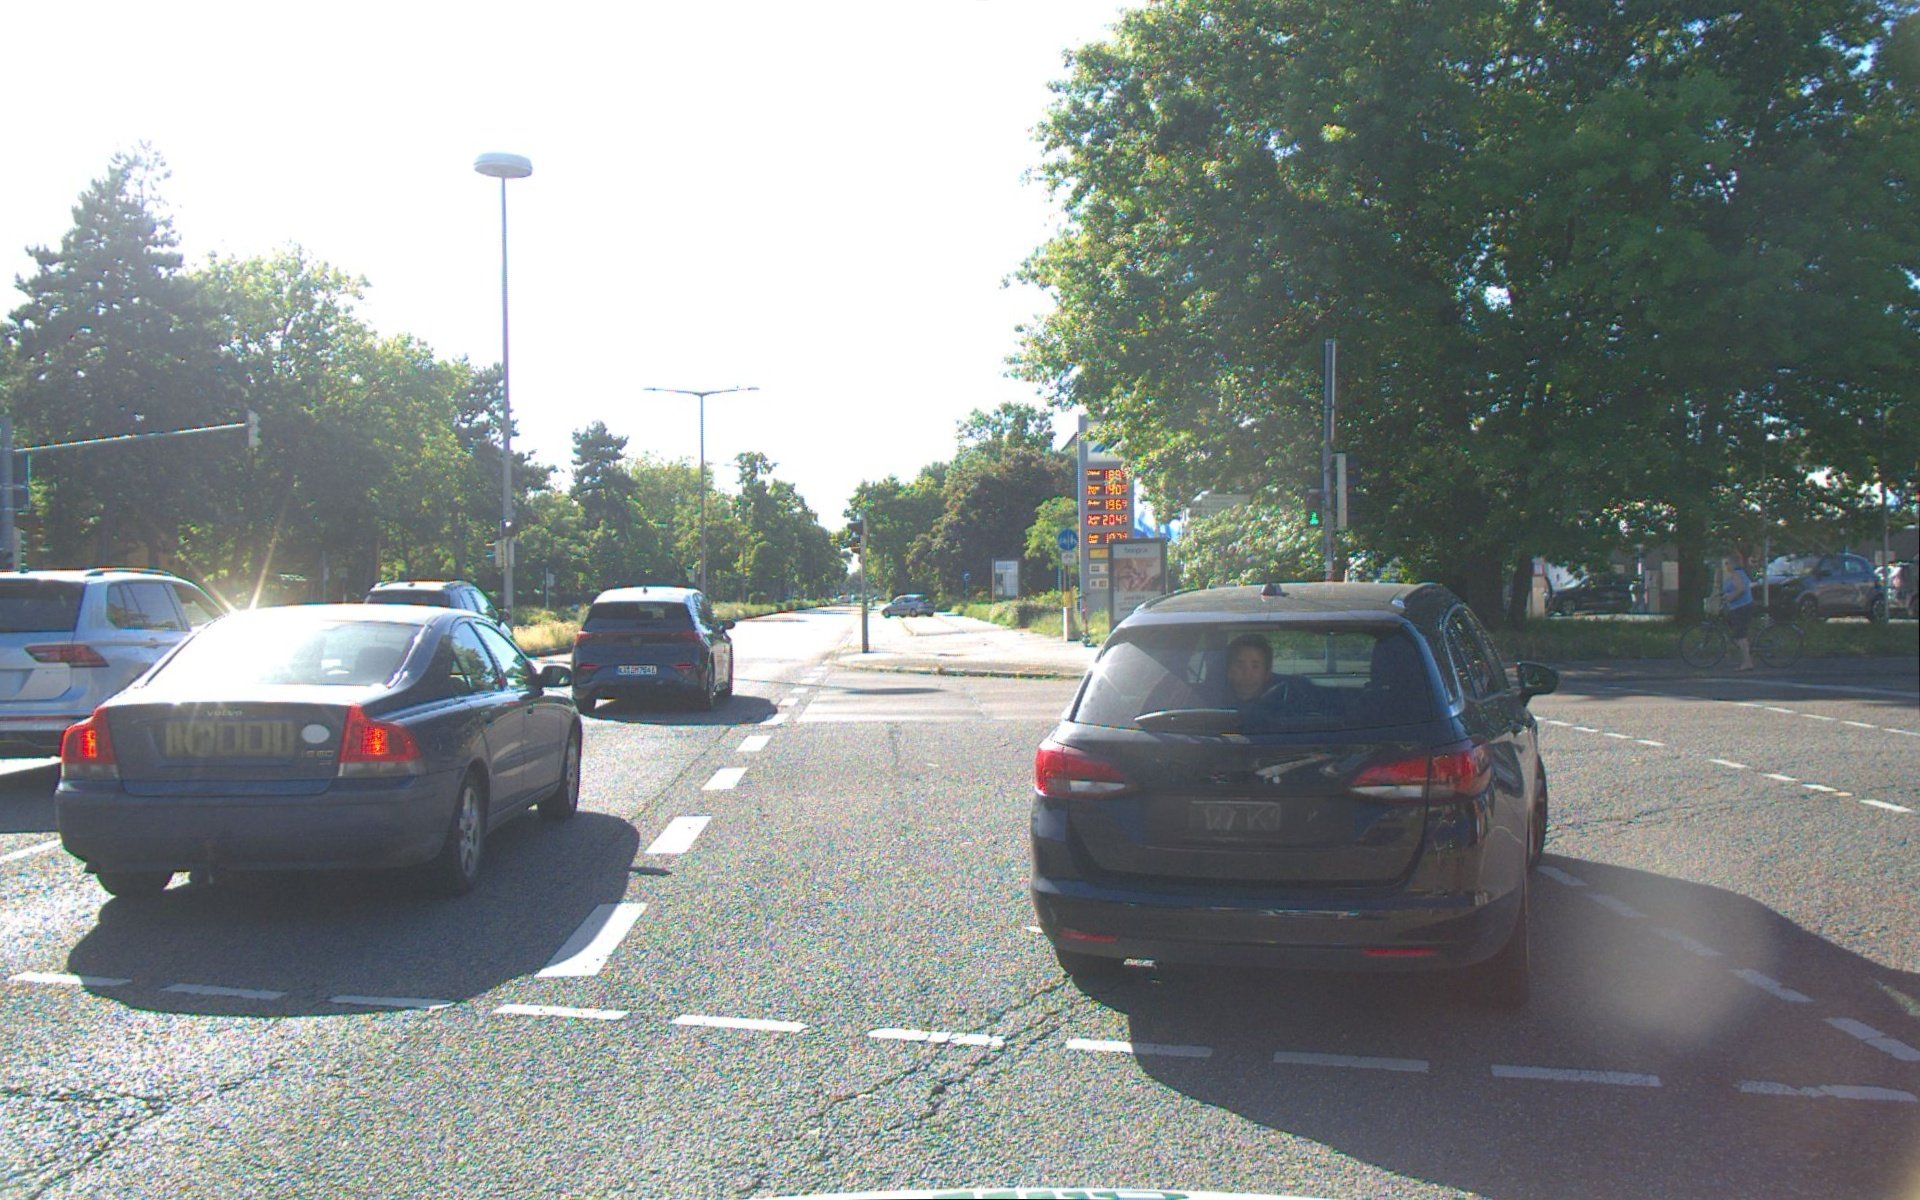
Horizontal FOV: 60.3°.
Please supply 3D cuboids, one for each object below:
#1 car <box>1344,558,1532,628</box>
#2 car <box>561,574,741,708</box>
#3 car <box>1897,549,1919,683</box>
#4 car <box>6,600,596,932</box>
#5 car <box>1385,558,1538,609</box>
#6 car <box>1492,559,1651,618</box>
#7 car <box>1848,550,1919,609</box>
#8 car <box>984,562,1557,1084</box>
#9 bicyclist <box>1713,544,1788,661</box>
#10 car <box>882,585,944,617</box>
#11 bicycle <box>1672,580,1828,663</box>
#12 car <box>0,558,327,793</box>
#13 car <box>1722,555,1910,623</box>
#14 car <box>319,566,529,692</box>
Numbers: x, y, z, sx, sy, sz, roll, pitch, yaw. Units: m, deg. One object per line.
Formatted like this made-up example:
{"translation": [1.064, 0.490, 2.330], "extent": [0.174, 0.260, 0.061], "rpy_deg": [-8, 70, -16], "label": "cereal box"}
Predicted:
{"translation": [15.458, -0.217, 53.660], "extent": [5.523, 2.136, 1.998], "rpy_deg": [1, 0, -4], "label": "car"}
{"translation": [-4.032, 0.503, 22.223], "extent": [1.800, 1.616, 4.362], "rpy_deg": [0, 0, -3], "label": "car"}
{"translation": [13.132, 0.130, 17.968], "extent": [4.769, 1.515, 1.844], "rpy_deg": [-1, -1, 9], "label": "car"}
{"translation": [-3.319, 0.731, 9.341], "extent": [1.800, 1.419, 4.361], "rpy_deg": [1, 0, -4], "label": "car"}
{"translation": [14.645, -0.466, 48.368], "extent": [3.919, 1.358, 1.793], "rpy_deg": [1, 0, -14], "label": "car"}
{"translation": [16.806, -0.308, 45.499], "extent": [3.918, 1.538, 1.527], "rpy_deg": [1, 0, -13], "label": "car"}
{"translation": [27.930, -0.551, 47.402], "extent": [3.908, 1.635, 1.998], "rpy_deg": [1, 0, -4], "label": "car"}
{"translation": [1.637, 0.606, 7.136], "extent": [1.725, 1.517, 4.292], "rpy_deg": [0, 1, 20], "label": "car"}
{"translation": [11.532, 0.037, 24.150], "extent": [0.810, 1.670, 0.543], "rpy_deg": [-1, 0, 3], "label": "bicyclist"}
{"translation": [-3.129, 0.039, 109.617], "extent": [1.984, 2.049, 3.937], "rpy_deg": [1, 0, -43], "label": "car"}
{"translation": [11.519, 0.311, 24.145], "extent": [1.977, 1.161, 0.529], "rpy_deg": [-1, 0, 3], "label": "bicycle"}
{"translation": [-7.213, 0.541, 14.105], "extent": [1.903, 1.681, 4.365], "rpy_deg": [1, 0, 0], "label": "car"}
{"translation": [18.993, -0.217, 36.669], "extent": [3.939, 1.400, 1.745], "rpy_deg": [1, 0, -27], "label": "car"}
{"translation": [-7.842, 0.396, 24.642], "extent": [1.872, 1.681, 4.362], "rpy_deg": [1, 0, -3], "label": "car"}
